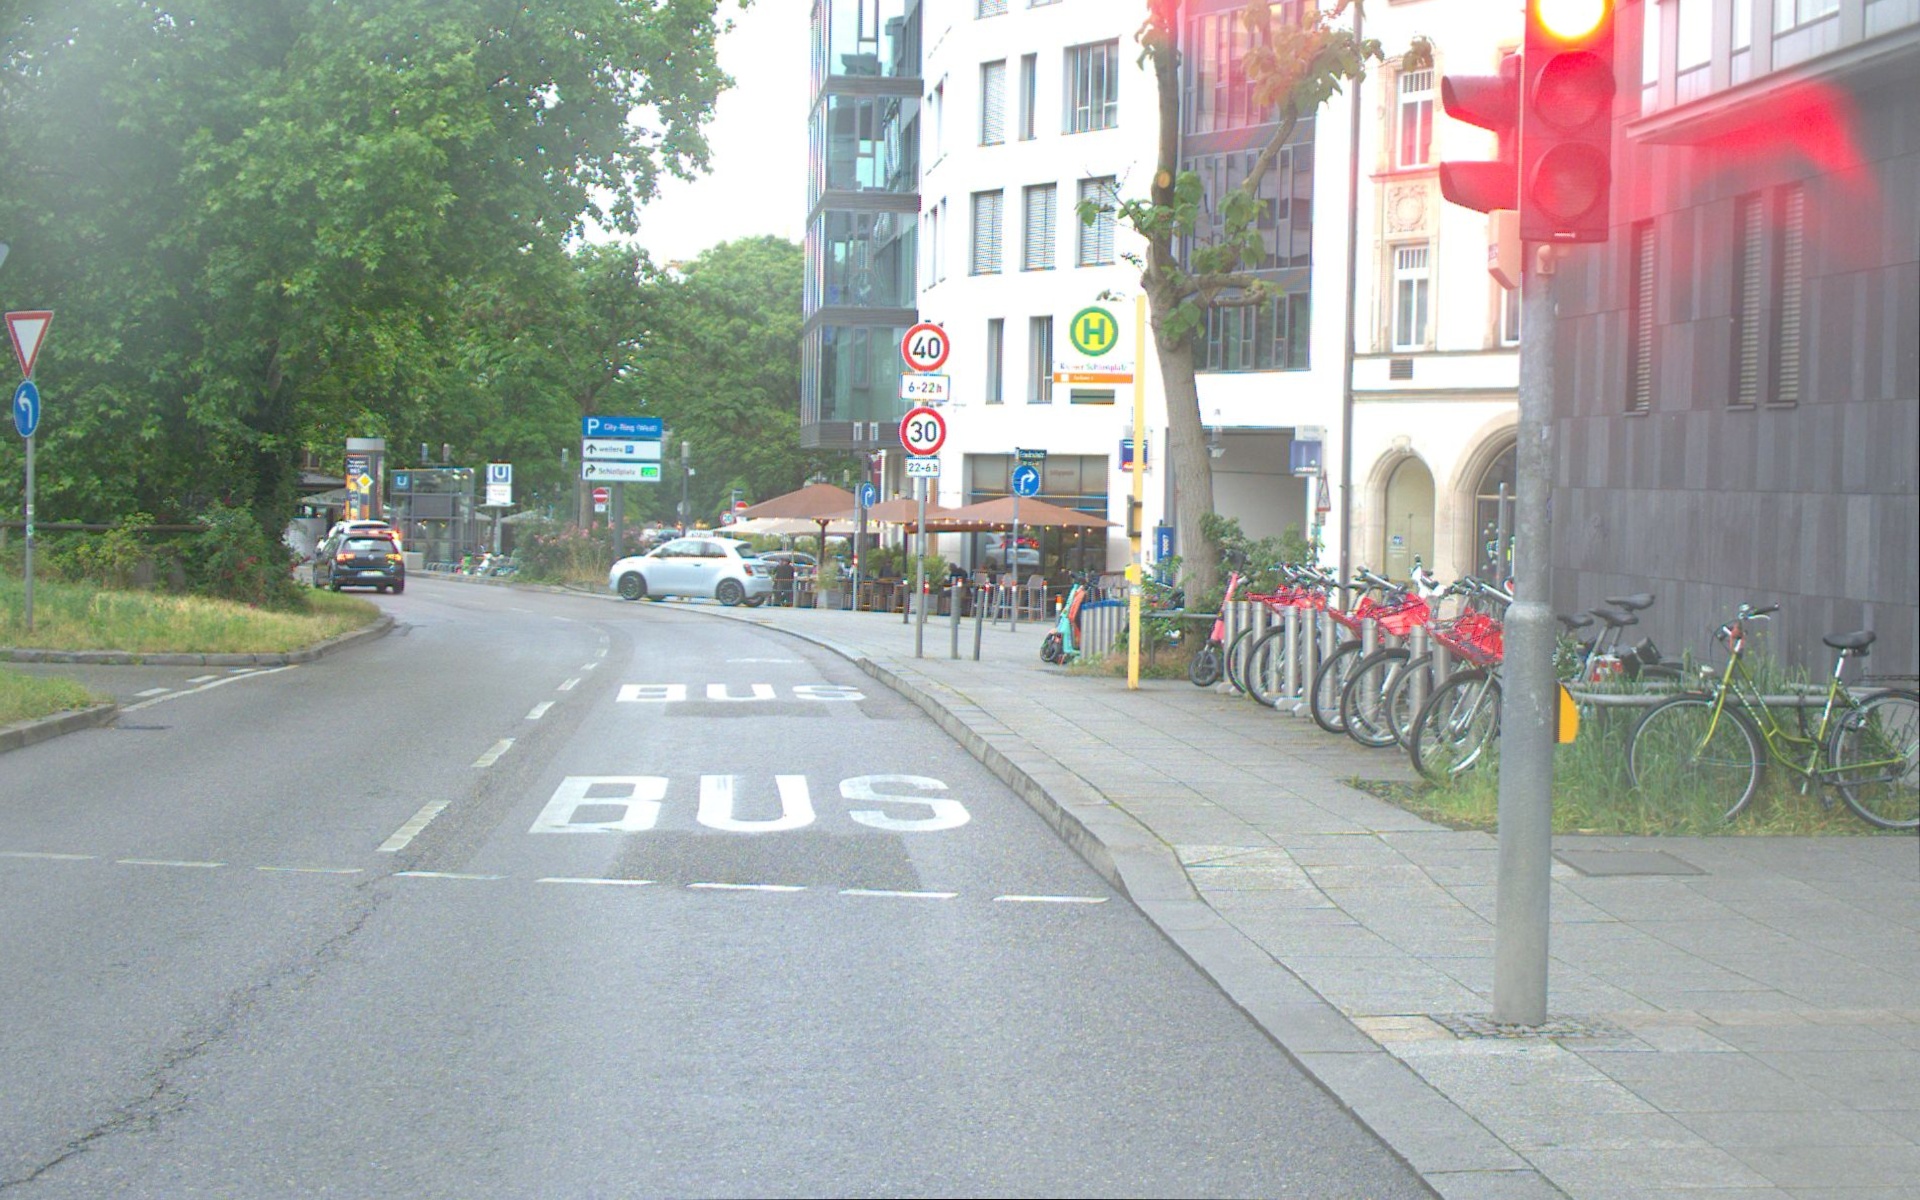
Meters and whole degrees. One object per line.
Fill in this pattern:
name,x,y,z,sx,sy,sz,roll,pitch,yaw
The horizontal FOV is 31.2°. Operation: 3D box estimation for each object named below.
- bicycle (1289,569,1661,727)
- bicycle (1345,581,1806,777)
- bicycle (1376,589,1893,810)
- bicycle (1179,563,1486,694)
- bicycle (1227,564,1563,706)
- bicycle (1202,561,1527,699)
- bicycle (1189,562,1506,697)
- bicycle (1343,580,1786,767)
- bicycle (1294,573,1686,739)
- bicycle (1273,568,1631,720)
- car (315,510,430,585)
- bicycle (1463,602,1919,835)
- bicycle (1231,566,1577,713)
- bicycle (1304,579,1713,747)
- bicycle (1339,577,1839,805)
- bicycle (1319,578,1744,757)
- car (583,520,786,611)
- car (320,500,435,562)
bicycle,3.673,0.340,24.600,2.535,1.083,0.677,1,1,-5
bicycle,3.558,0.452,19.963,2.535,1.083,0.677,1,1,-5
bicycle,3.500,0.512,17.935,2.535,1.083,0.677,1,1,-5
bicycle,3.190,0.237,29.527,2.535,1.083,0.627,1,1,-5
bicycle,3.426,0.272,27.169,2.535,1.083,0.677,1,1,-5
bicycle,3.291,0.243,28.058,2.535,1.083,0.677,1,1,-5
bicycle,3.235,0.242,28.805,2.535,1.083,0.677,1,1,-5
bicycle,3.647,0.439,20.818,2.535,1.083,0.677,1,1,-5
bicycle,3.594,0.375,23.404,2.535,1.083,0.677,1,1,-5
bicycle,3.650,0.321,25.578,2.535,1.083,0.677,1,1,-5
car,-14.289,-1.299,83.431,2.161,1.700,4.555,1,1,-17
bicycle,3.745,0.562,16.458,2.535,1.053,0.677,1,1,-5
bicycle,3.399,0.301,26.417,2.535,1.083,0.677,1,1,-5
bicycle,3.576,0.406,22.495,2.535,1.056,0.677,1,1,-5
bicycle,3.413,0.489,18.738,2.535,1.083,0.677,3,1,-5
bicycle,3.580,0.419,21.628,2.535,1.083,0.677,1,1,-5
car,-6.156,-0.769,77.000,3.989,1.641,1.999,6,1,12
car,-16.995,-2.015,100.123,2.178,1.695,4.001,1,1,-27
